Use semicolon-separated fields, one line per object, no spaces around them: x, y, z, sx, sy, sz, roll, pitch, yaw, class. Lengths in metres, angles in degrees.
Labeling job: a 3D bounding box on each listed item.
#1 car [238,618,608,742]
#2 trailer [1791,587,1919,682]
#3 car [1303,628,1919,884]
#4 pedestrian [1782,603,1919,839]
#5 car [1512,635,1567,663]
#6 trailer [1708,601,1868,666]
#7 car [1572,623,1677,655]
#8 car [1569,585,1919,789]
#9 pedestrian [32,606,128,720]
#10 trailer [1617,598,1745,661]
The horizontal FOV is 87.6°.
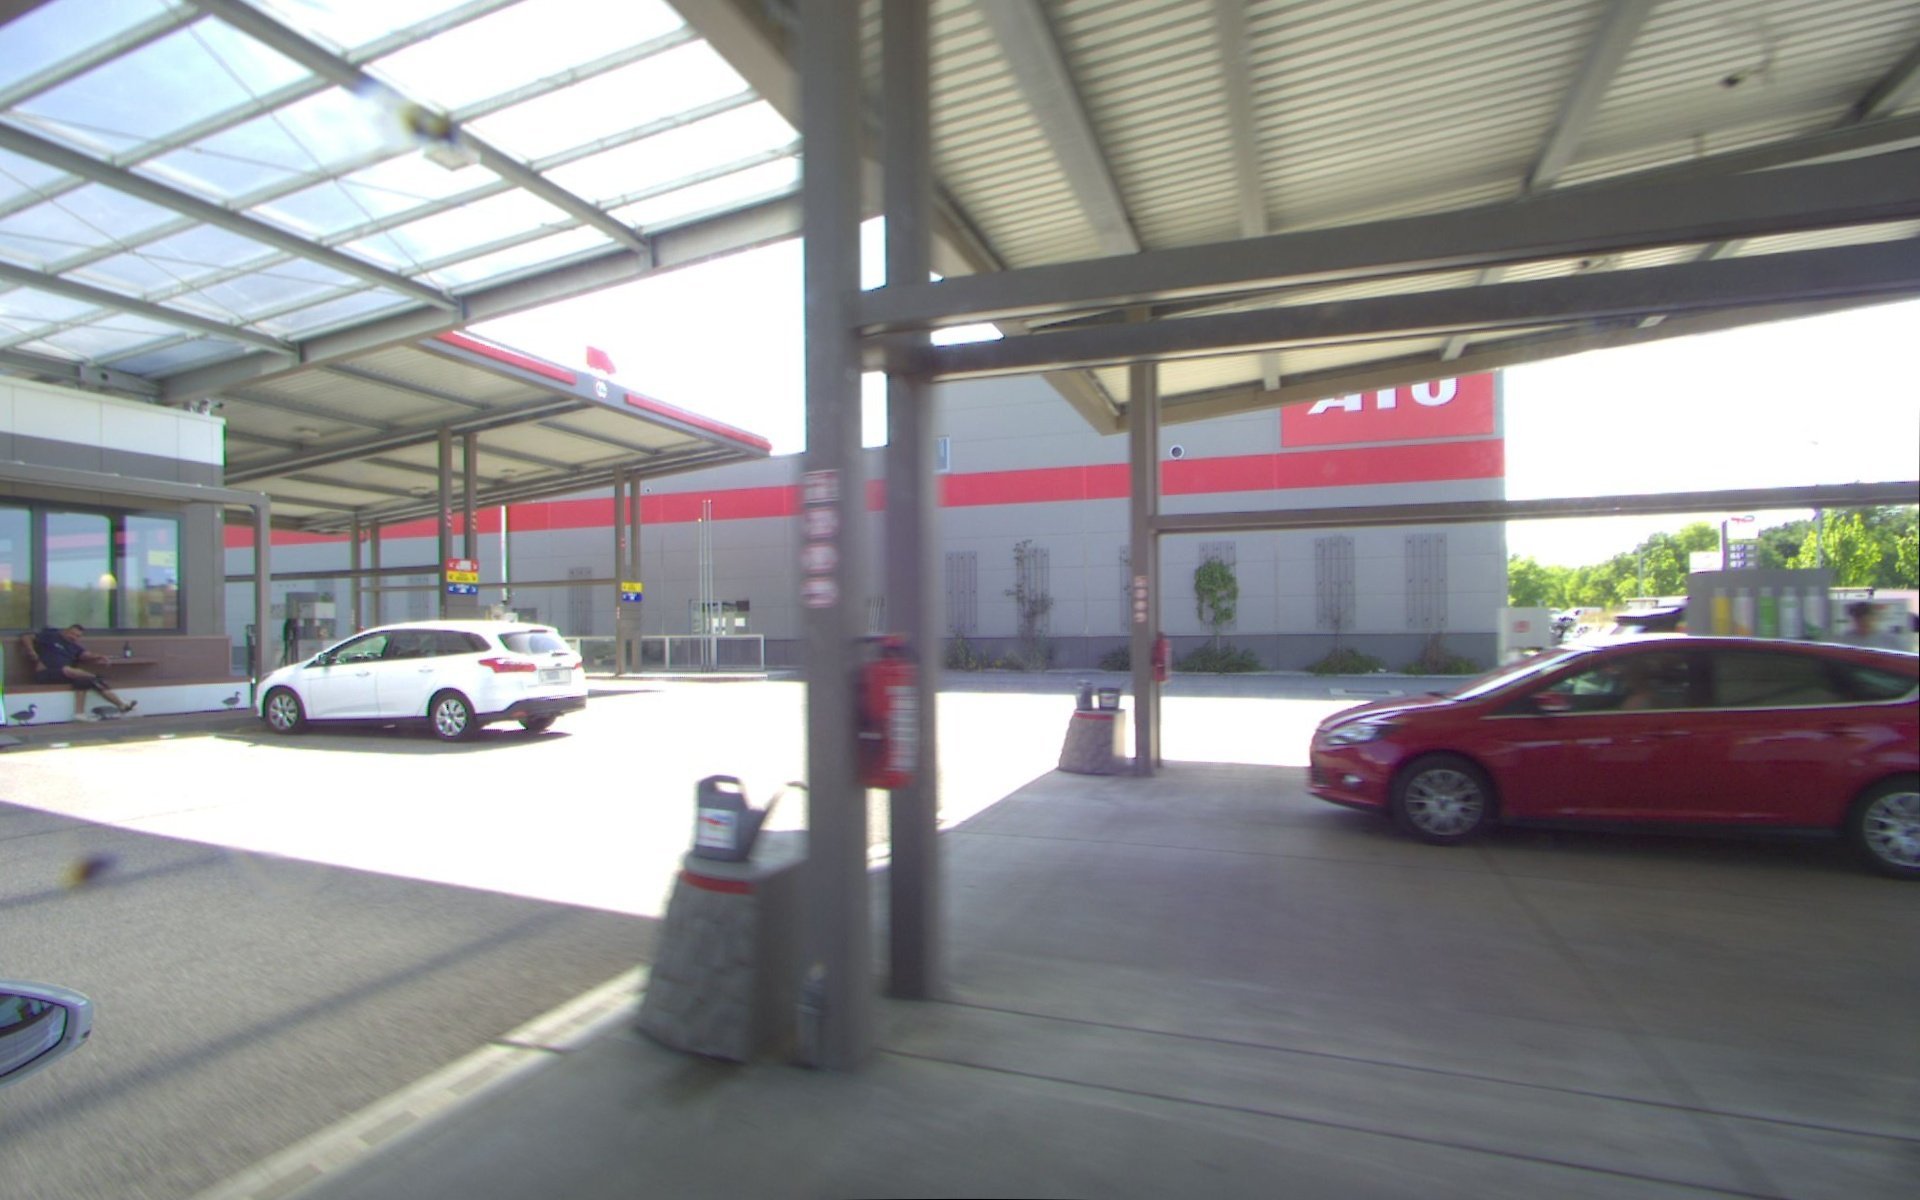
-7.148;0.994;13.467;4.240;1.476;1.835;0;-1;13;car
25.333;0.920;27.590;3.931;2.459;1.996;0;0;-19;trailer
4.665;0.963;7.183;4.158;1.488;1.701;0;-1;19;car
7.040;0.894;7.692;0.911;1.725;0.702;0;0;17;pedestrian
29.917;2.512;51.815;1.651;1.334;3.830;0;-1;17;car
27.061;1.086;32.783;3.923;2.040;1.803;0;-1;-5;trailer
28.469;1.661;42.943;3.766;1.334;1.679;0;-1;-14;car
9.218;0.834;10.260;4.712;1.875;2.031;1;0;19;car
-11.513;0.804;13.108;0.661;1.450;0.702;0;0;18;pedestrian
29.132;1.180;40.547;3.924;2.459;1.999;0;0;-8;trailer
